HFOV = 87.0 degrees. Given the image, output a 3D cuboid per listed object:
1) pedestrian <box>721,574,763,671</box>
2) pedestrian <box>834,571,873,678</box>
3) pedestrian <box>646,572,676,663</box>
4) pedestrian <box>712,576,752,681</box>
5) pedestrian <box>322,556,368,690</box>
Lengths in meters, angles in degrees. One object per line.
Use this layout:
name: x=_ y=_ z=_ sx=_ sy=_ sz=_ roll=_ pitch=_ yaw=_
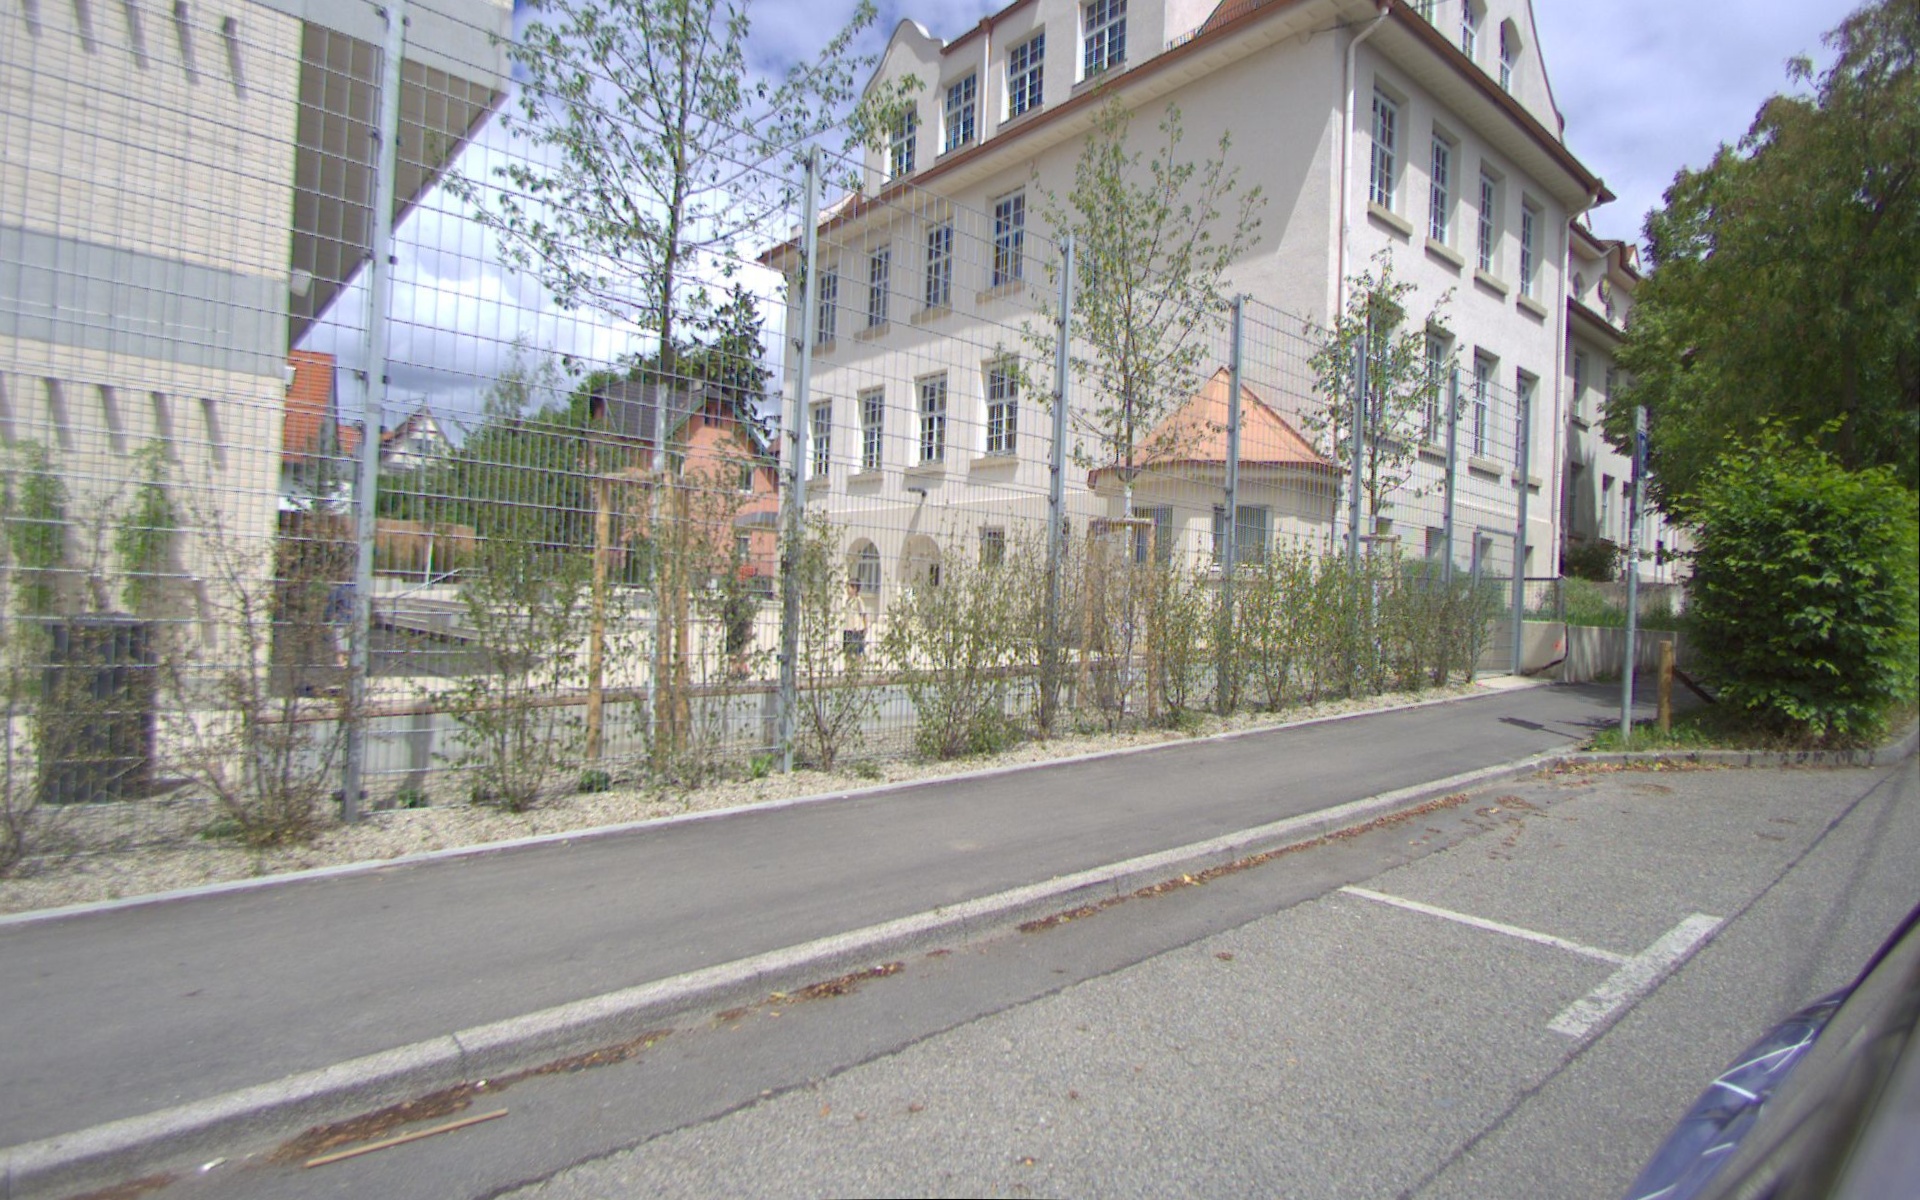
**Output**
pedestrian: x=-3.082 y=0.309 z=14.333 sx=0.370 sy=1.344 sz=0.437 roll=1 pitch=0 yaw=41
pedestrian: x=-1.365 y=0.308 z=13.000 sx=0.370 sy=1.344 sz=0.313 roll=1 pitch=0 yaw=43
pedestrian: x=-4.771 y=0.277 z=16.141 sx=0.361 sy=1.433 sz=0.293 roll=1 pitch=0 yaw=-41
pedestrian: x=-2.974 y=0.359 z=13.207 sx=0.370 sy=1.344 sz=0.346 roll=1 pitch=0 yaw=41
pedestrian: x=-6.715 y=0.242 z=11.053 sx=0.361 sy=1.433 sz=0.351 roll=1 pitch=0 yaw=-41
